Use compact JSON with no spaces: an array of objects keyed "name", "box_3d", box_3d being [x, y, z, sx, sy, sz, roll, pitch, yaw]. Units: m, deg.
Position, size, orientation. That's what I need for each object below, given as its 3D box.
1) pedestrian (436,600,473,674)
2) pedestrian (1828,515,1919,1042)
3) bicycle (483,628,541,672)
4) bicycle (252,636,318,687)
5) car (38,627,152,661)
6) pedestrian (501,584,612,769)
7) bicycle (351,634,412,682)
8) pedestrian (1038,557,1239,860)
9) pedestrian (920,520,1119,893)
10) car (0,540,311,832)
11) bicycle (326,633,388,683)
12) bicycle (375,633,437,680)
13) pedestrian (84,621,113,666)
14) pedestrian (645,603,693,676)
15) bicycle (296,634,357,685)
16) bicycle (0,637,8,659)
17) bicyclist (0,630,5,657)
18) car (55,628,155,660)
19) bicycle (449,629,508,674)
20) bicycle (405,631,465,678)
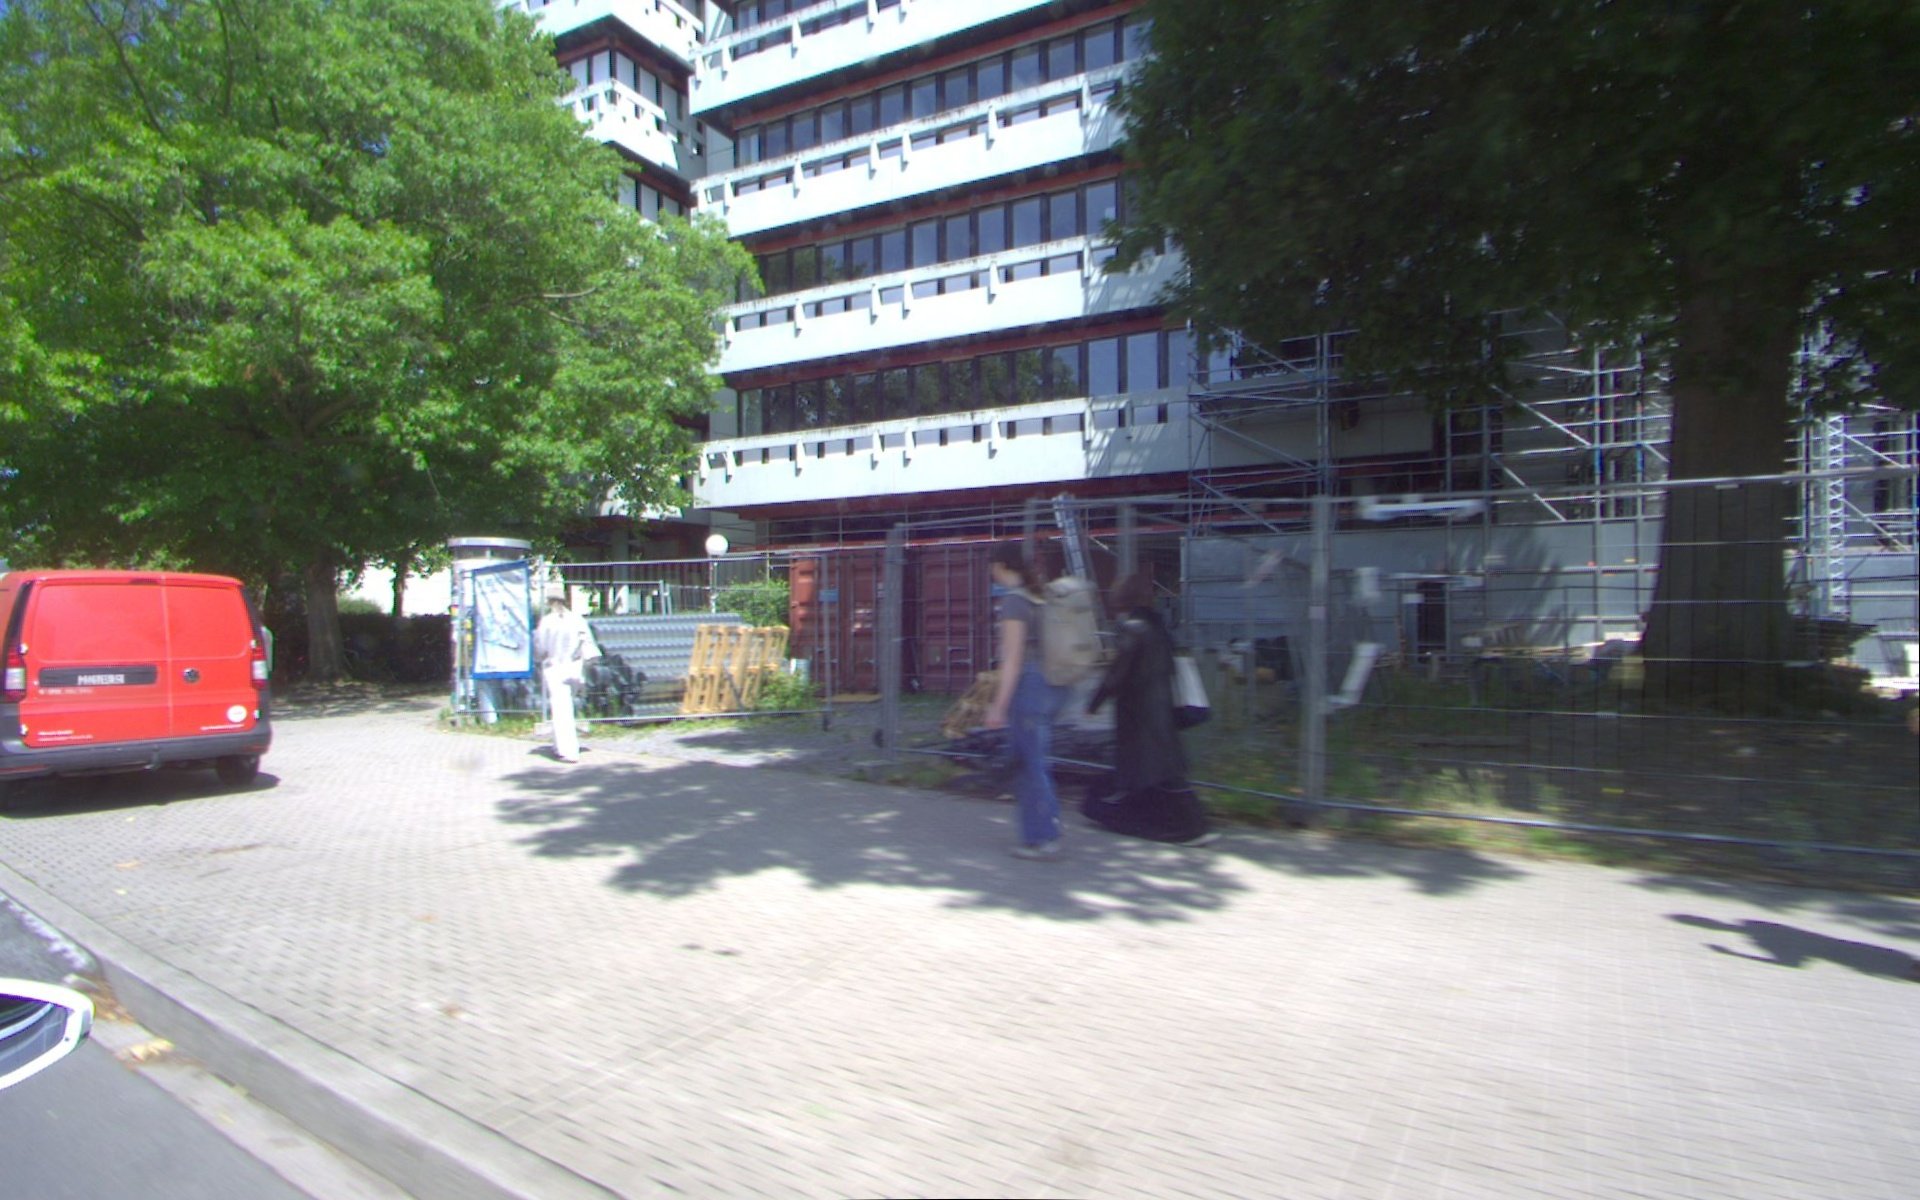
[{"name":"pedestrian","box_3d":[-12.934,0.943,25.611,0.751,1.861,0.541,-1,0,35]},{"name":"pedestrian","box_3d":[3.559,0.567,3.316,0.890,1.688,0.649,-1,0,27]},{"name":"bicycle","box_3d":[-11.889,1.306,26.535,1.846,1.133,0.497,-1,-1,34]},{"name":"bicycle","box_3d":[-15.735,1.419,23.320,1.846,1.133,0.617,-1,-1,34]},{"name":"car","box_3d":[-45.243,2.274,52.512,4.450,1.545,1.795,-1,0,-41]},{"name":"pedestrian","box_3d":[-3.803,0.694,9.447,0.703,1.653,0.710,-1,0,38]},{"name":"bicycle","box_3d":[-13.941,1.383,24.117,1.846,1.133,0.497,-1,-1,34]},{"name":"pedestrian","box_3d":[1.053,0.591,5.901,0.972,1.621,0.667,-1,0,34]},{"name":"pedestrian","box_3d":[0.331,0.518,5.347,0.706,1.787,0.847,-1,0,35]},{"name":"car","box_3d":[-7.668,0.609,8.779,4.829,1.916,1.841,-1,0,38]},{"name":"bicycle","box_3d":[-14.285,1.362,23.704,1.909,1.133,0.497,-1,-1,34]},{"name":"bicycle","box_3d":[-13.603,1.375,24.581,1.913,1.133,0.497,-1,-1,34]},{"name":"pedestrian","box_3d":[-34.784,1.752,40.436,0.813,1.778,0.834,0,-1,-36]},{"name":"pedestrian","box_3d":[-6.806,0.916,23.432,0.712,1.656,0.829,-1,0,26]},{"name":"bicycle","box_3d":[-14.834,1.381,23.442,1.846,1.133,0.497,-1,-1,34]},{"name":"bicycle","box_3d":[-46.856,2.354,48.780,0.609,1.014,1.411,-1,0,-41]},{"name":"bicyclist","box_3d":[-46.913,2.114,48.768,0.518,1.312,0.605,0,0,-41]},{"name":"car","box_3d":[-48.116,2.429,56.455,4.223,1.609,1.795,-1,0,-41]},{"name":"bicycle","box_3d":[-12.536,1.331,26.048,1.846,1.133,0.497,-1,-1,34]},{"name":"bicycle","box_3d":[-13.153,1.357,25.078,1.846,1.133,0.497,-1,-1,34]}]
